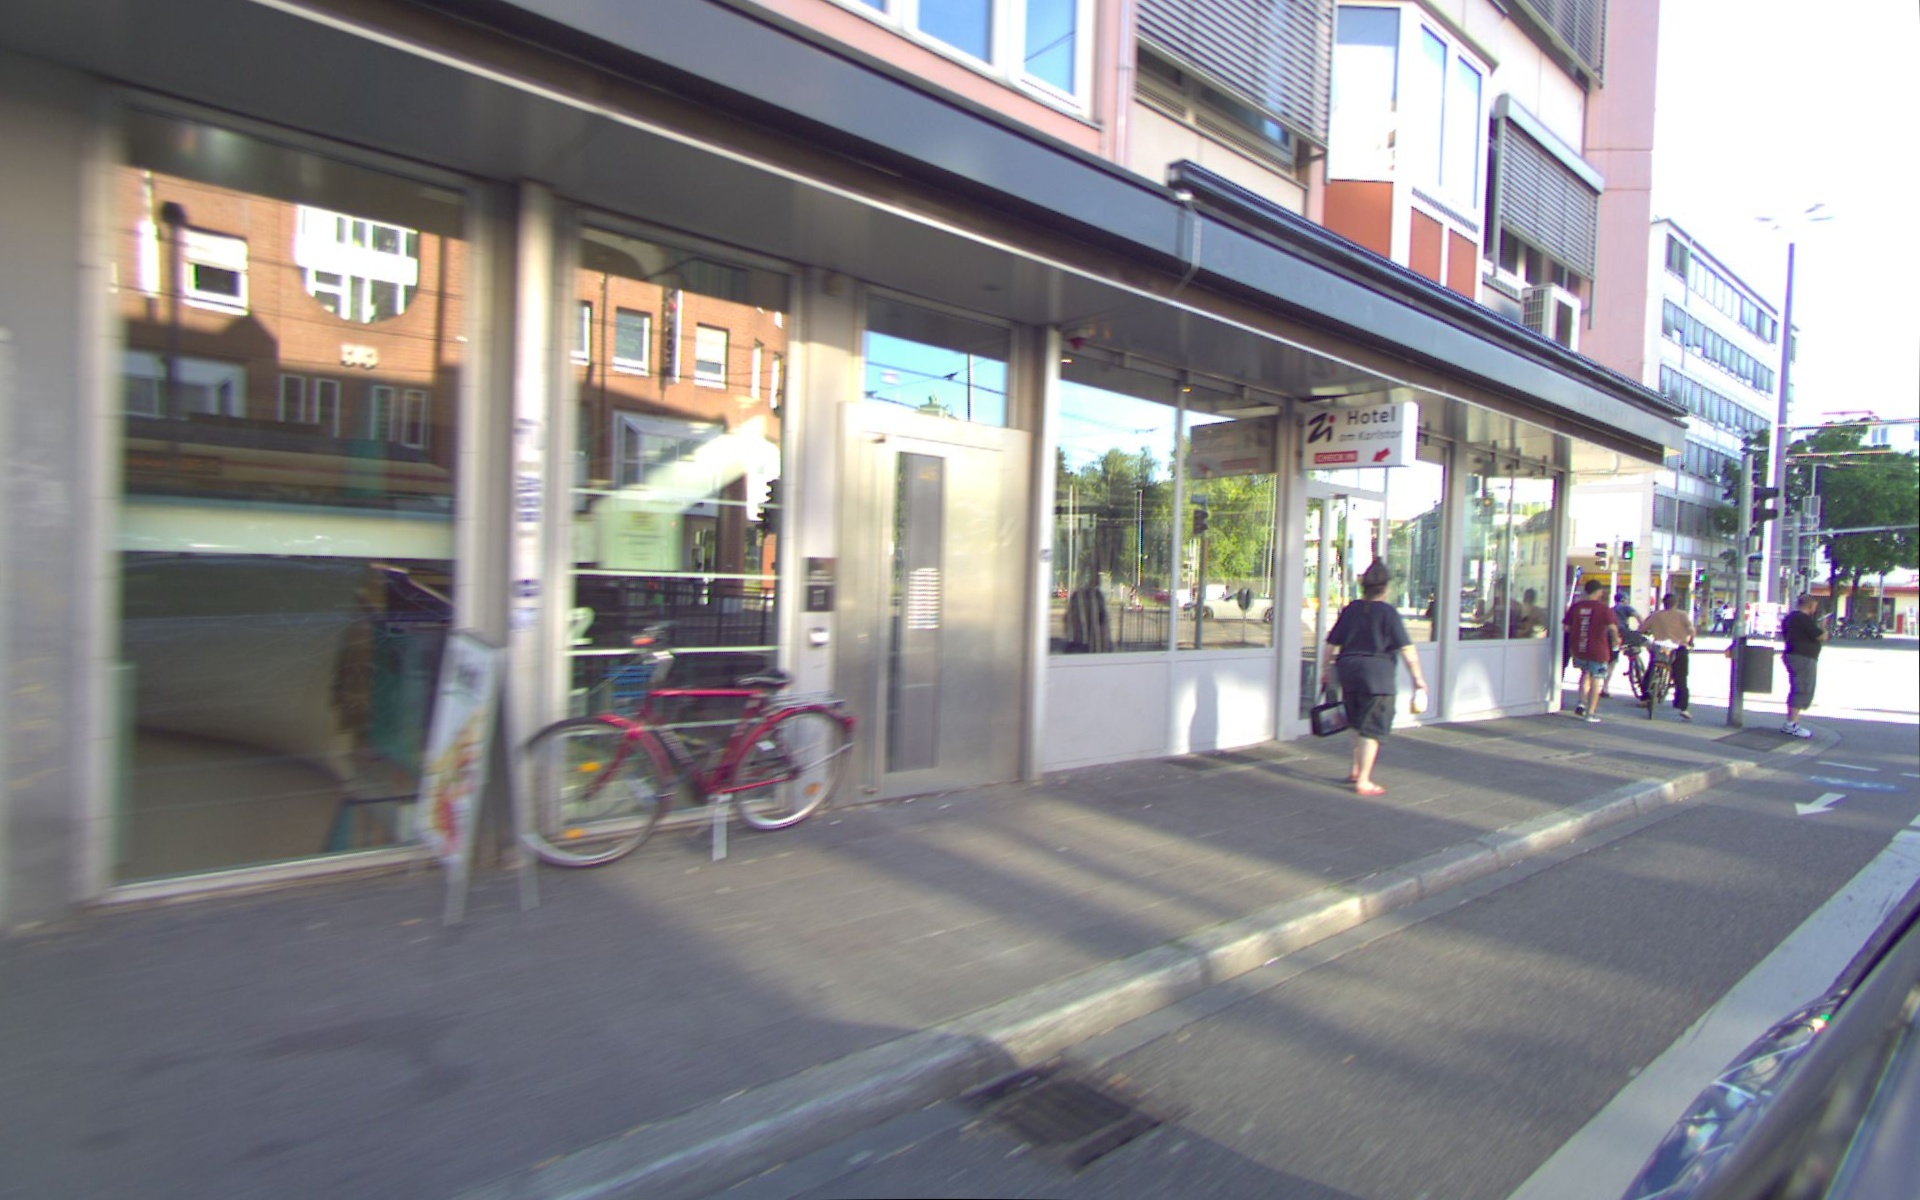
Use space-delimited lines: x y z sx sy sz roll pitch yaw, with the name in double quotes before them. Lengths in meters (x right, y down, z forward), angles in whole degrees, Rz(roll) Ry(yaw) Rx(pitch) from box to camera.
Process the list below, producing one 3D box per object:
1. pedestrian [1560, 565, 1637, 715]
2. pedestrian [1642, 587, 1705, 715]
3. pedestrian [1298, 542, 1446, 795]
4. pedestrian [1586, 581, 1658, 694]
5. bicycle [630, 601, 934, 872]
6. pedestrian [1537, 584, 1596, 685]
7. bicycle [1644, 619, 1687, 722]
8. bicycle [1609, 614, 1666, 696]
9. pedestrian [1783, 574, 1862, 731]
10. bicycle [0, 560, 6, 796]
"pedestrian" 7.852 0.468 12.451 0.669 1.783 0.669 1 0 43
"pedestrian" 9.405 0.647 13.339 0.650 1.627 0.588 1 0 36
"pedestrian" 2.858 0.440 7.042 0.486 1.633 0.709 1 3 -40
"pedestrian" 10.581 0.578 16.193 0.819 1.732 0.779 1 0 24
"bicycle" -0.839 0.593 4.992 1.382 1.141 0.516 1 2 -42
"pedestrian" 10.177 0.567 16.999 0.659 1.643 0.647 1 0 14
"bicycle" 9.273 0.881 13.331 0.427 1.229 1.802 1 0 34
"bicycle" 10.641 0.834 15.931 0.478 1.187 1.744 1 0 25
"pedestrian" 10.595 0.618 12.449 0.676 1.866 0.598 1 0 37
"bicycle" -5.203 0.412 4.491 0.415 1.214 1.479 2 1 7
